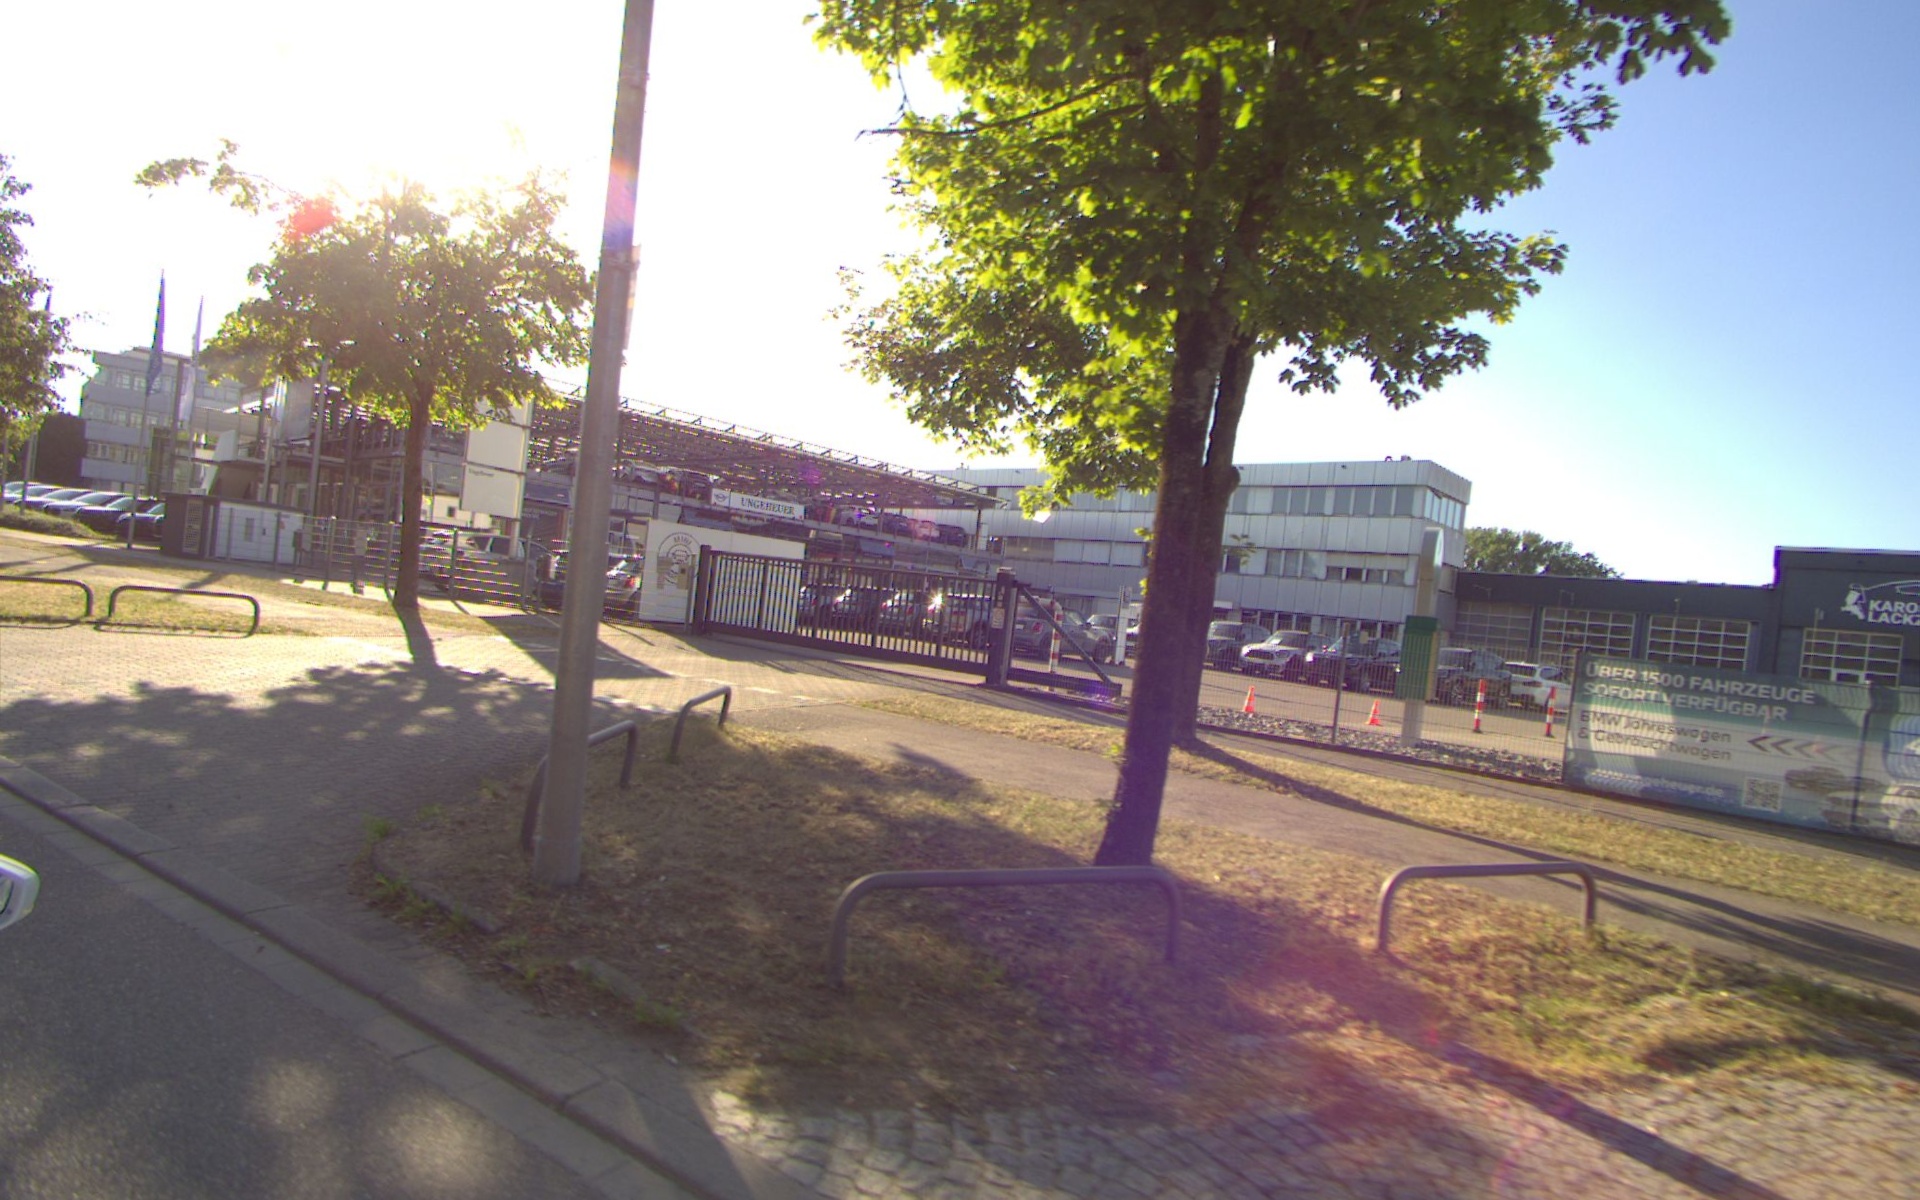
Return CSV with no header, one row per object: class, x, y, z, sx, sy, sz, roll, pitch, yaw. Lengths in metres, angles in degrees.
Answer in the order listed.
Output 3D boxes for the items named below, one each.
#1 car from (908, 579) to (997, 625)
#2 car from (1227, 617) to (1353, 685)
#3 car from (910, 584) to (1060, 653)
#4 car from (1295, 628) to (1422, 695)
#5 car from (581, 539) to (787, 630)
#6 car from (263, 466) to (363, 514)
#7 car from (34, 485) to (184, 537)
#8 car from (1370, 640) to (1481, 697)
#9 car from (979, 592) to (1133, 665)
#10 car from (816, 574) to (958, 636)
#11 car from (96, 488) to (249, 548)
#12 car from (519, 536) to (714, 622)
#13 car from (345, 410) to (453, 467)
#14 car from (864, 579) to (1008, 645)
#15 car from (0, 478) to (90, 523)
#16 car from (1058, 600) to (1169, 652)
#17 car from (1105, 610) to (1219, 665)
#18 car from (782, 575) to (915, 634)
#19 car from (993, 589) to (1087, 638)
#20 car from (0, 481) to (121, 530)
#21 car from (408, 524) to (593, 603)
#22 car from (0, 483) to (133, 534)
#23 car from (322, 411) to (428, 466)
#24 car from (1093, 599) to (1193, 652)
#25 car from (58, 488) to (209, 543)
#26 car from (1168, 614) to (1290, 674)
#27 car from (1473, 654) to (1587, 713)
car,-0.330,0.126,48.958,3.974,1.763,1.975,6,1,-45
car,10.671,1.661,32.414,3.976,1.595,1.978,12,-5,-41
car,0.757,0.546,28.661,3.973,1.549,1.900,6,1,-44
car,12.255,1.908,30.841,3.970,1.599,1.826,6,3,-41
car,-6.254,-0.336,22.991,3.970,1.598,1.977,6,1,-41
car,-34.083,-5.793,53.062,1.763,1.685,3.983,7,-2,43
car,-34.881,-3.613,41.409,1.962,1.594,4.603,6,1,4
car,15.962,2.362,34.413,3.970,1.493,1.826,6,3,-41
car,2.644,0.782,27.124,3.973,1.549,1.900,6,1,-44
car,-2.308,0.187,32.212,3.970,1.597,2.137,6,-2,-41
car,-30.088,-3.076,38.640,1.962,1.687,4.605,6,0,3
car,-8.317,-0.480,24.517,3.970,1.598,1.977,6,1,-41
car,-26.291,-7.519,47.225,1.763,1.685,3.982,7,-2,43
car,-0.691,0.390,30.635,3.970,1.549,1.902,6,1,-41
car,-43.113,-4.632,45.960,2.365,1.712,4.727,6,1,3
car,5.736,0.973,37.332,3.970,1.597,1.884,6,-2,-41
car,7.193,1.350,35.663,3.970,1.597,1.884,6,-2,-41
car,-3.736,0.157,33.924,3.970,1.597,1.978,6,-2,-41
car,3.638,0.607,45.253,3.974,1.763,1.975,6,1,-45
car,-40.348,-4.180,44.756,1.962,1.593,4.606,5,0,3
car,-12.129,-0.947,26.656,3.970,1.598,1.977,6,1,-41
car,-38.180,-3.865,42.790,1.962,1.594,4.605,6,0,3
car,-28.364,-7.780,48.863,1.763,1.685,3.982,7,-2,43
car,7.582,1.084,41.530,3.974,1.763,1.975,6,1,-45
car,-32.719,-3.300,40.033,1.962,1.594,4.605,6,0,3
car,9.088,1.500,33.879,3.970,1.598,1.977,6,1,-41
car,18.402,2.697,32.424,3.970,1.493,1.826,6,3,-41
